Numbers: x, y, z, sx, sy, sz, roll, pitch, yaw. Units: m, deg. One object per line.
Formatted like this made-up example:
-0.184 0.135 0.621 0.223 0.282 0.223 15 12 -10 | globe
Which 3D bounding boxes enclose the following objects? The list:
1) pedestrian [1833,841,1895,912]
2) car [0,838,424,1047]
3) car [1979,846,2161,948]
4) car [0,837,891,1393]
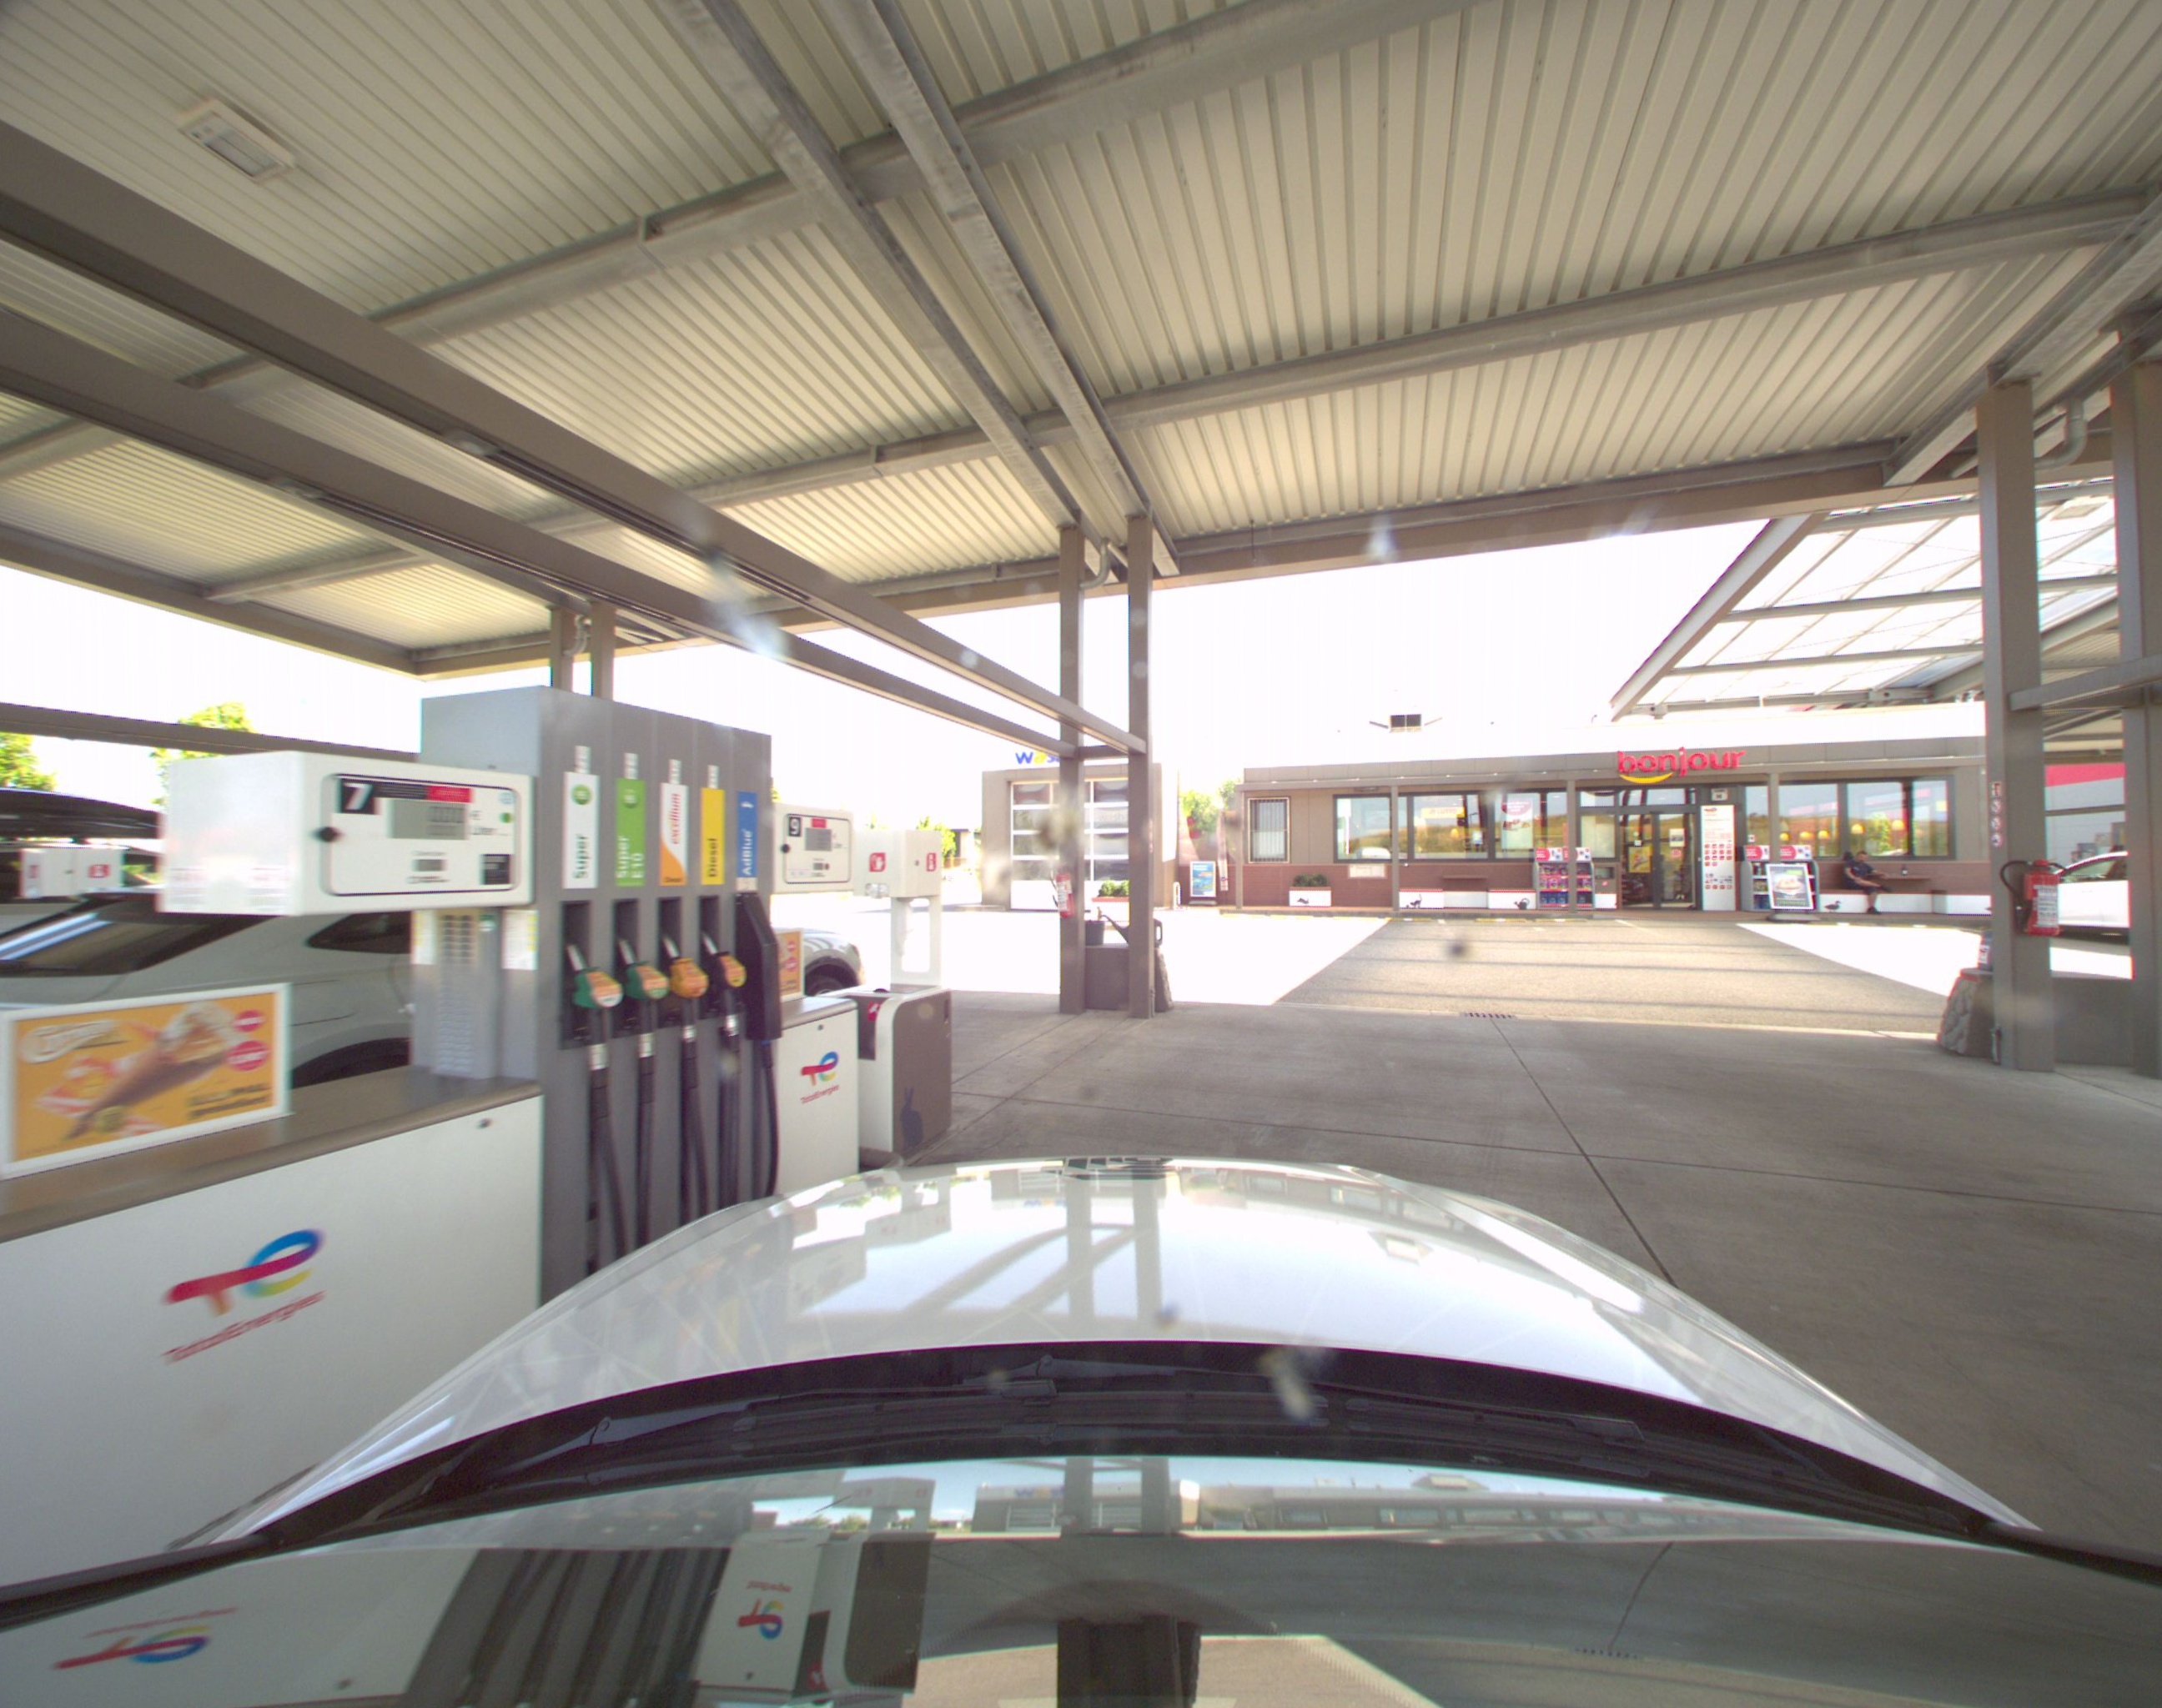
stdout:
16.334 0.466 17.004 0.695 1.432 0.676 -1 -1 19 | pedestrian
-9.331 0.725 7.733 1.845 1.687 4.555 -1 0 16 | car
16.629 0.610 12.427 1.817 1.457 4.337 -1 -1 14 | car
-3.071 0.745 4.577 1.765 1.541 4.347 -1 -1 21 | car
